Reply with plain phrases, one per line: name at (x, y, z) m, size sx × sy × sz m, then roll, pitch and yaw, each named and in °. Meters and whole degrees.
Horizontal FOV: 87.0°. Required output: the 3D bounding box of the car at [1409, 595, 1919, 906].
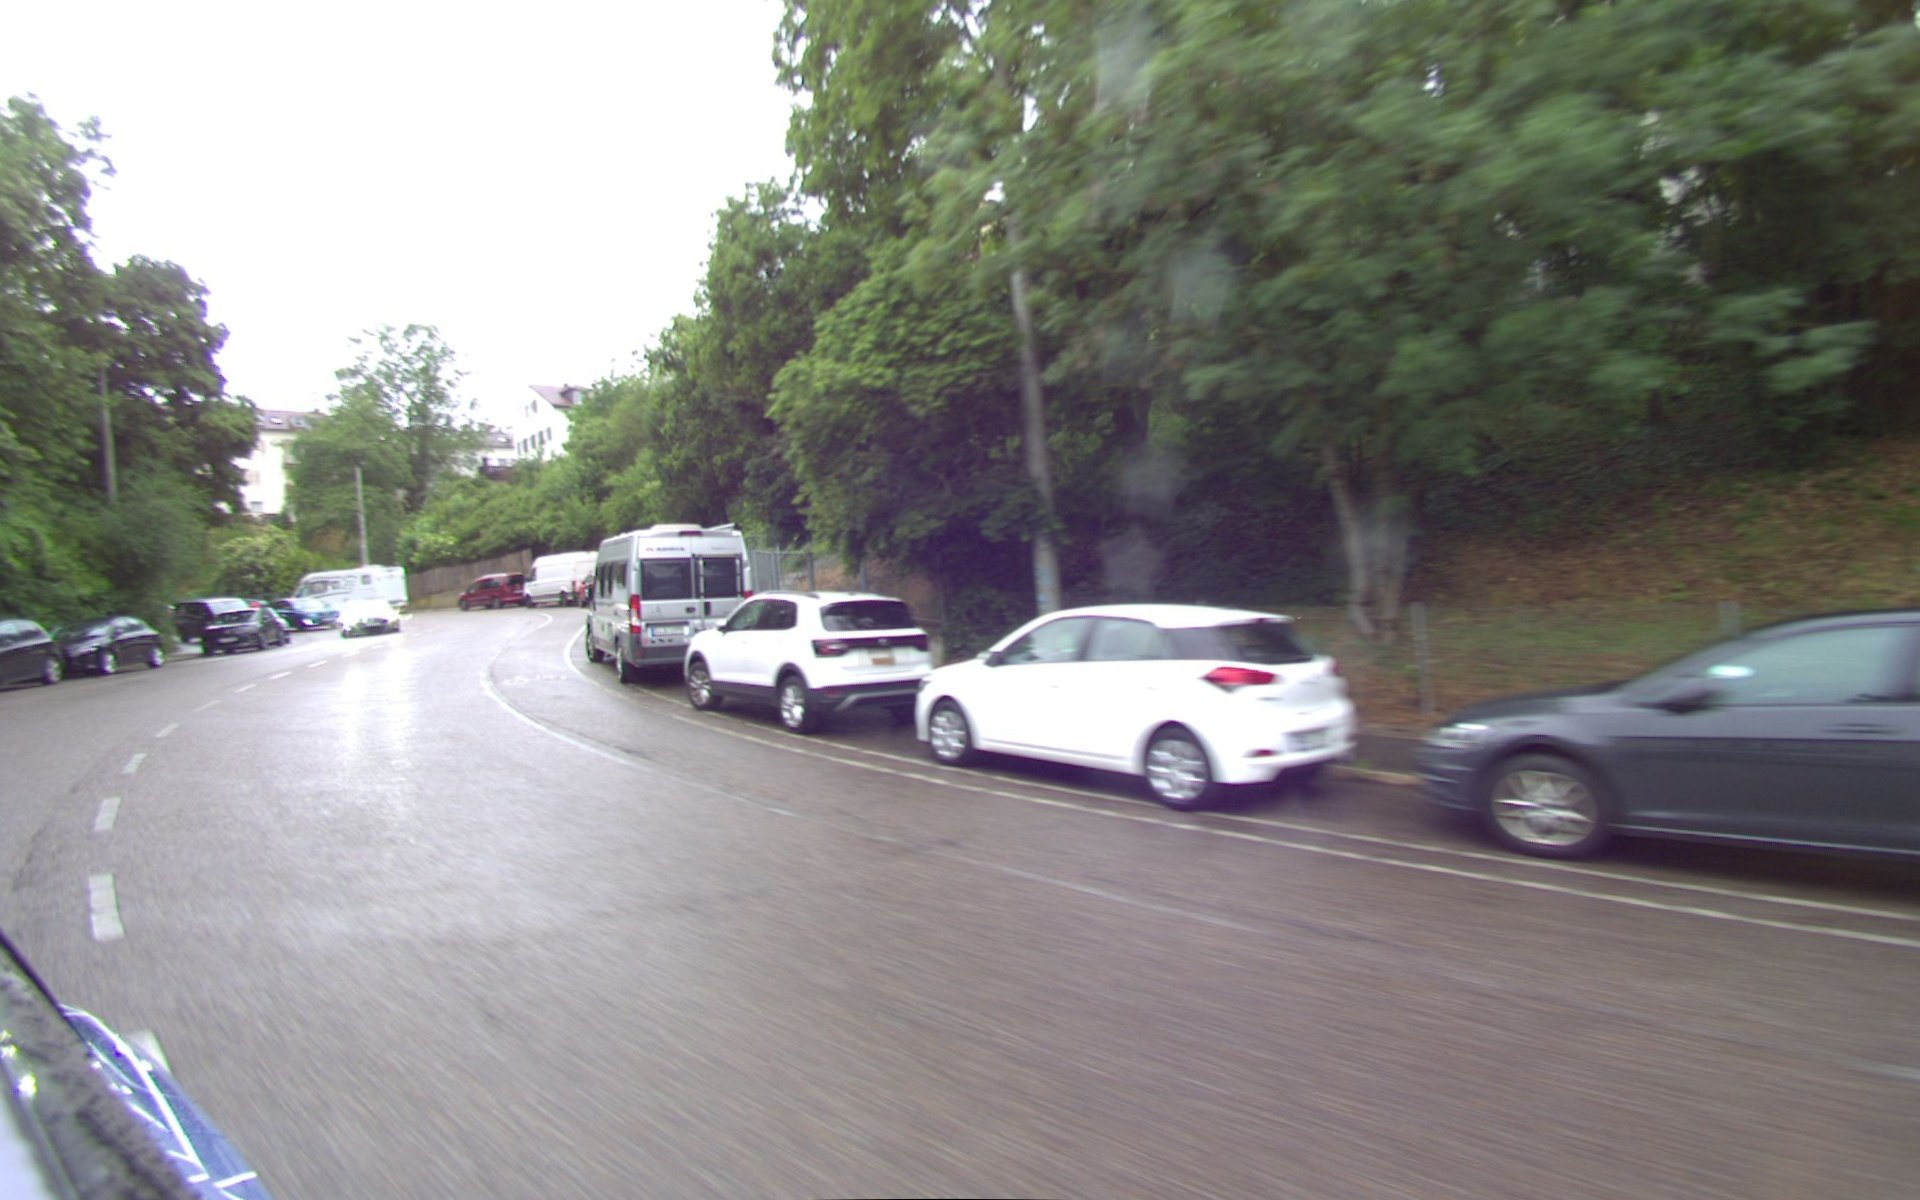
car at (4.878, 0.712, 5.628) m, size 4.014 × 1.454 × 1.755 m, roll -1°, pitch 0°, yaw 41°

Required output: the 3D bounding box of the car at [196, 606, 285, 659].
car at (-25.325, 1.095, 35.731) m, size 1.604 × 1.499 × 3.757 m, roll -7°, pitch 3°, yaw -22°

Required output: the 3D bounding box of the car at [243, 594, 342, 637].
car at (-32.438, 0.762, 49.196) m, size 4.509 × 1.681 × 1.982 m, roll -2°, pitch 6°, yaw 29°

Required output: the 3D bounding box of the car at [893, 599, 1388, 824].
car at (1.329, 0.746, 8.792) m, size 1.730 × 1.467 × 4.053 m, roll -1°, pitch 0°, yaw -41°

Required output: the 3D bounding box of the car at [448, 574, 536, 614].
car at (-26.345, -0.338, 56.921) m, size 4.802 × 1.889 × 1.981 m, roll -3°, pitch 4°, yaw 30°

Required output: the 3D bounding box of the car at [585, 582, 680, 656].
car at (-8.177, 0.384, 25.028) m, size 1.965 × 1.631 × 4.412 m, roll 0°, pitch 1°, yaw -22°

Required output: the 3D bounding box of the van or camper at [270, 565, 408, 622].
van or camper at (-37.535, -0.411, 61.197) m, size 7.452 × 2.988 × 2.449 m, roll -3°, pitch 3°, yaw 14°

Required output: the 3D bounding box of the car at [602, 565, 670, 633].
car at (-9.771, -0.099, 30.389) m, size 1.726 × 1.780 × 4.150 m, roll -4°, pitch 4°, yaw -19°

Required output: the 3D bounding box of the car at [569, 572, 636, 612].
car at (-16.331, -0.357, 46.112) m, size 1.752 × 1.597 × 4.445 m, roll -6°, pitch 3°, yaw -33°

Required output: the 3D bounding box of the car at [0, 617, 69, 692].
car at (-19.635, 1.138, 19.951) m, size 1.637 × 1.434 × 3.981 m, roll -4°, pitch 1°, yaw -19°

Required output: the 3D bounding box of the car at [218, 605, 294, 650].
car at (-28.653, 1.080, 41.115) m, size 1.879 × 1.498 × 4.882 m, roll -9°, pitch 5°, yaw -41°

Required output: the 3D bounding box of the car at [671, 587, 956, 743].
car at (-1.990, 0.662, 12.780) m, size 1.780 × 1.594 × 4.033 m, roll -1°, pitch 2°, yaw -38°

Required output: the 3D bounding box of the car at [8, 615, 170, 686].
car at (-21.753, 1.195, 25.461) m, size 1.568 × 1.399 × 3.833 m, roll -6°, pitch 2°, yaw -17°

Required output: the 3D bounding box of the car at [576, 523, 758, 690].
car at (-5.648, -0.032, 18.787) m, size 2.044 × 2.568 × 6.368 m, roll -2°, pitch 3°, yaw -27°

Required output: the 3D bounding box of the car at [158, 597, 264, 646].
car at (-33.564, 0.978, 45.329) m, size 5.019 × 1.900 × 1.980 m, roll -2°, pitch 5°, yaw 32°

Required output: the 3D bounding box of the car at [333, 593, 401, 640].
car at (-23.594, 0.636, 40.218) m, size 1.869 × 1.550 × 4.511 m, roll -7°, pitch 3°, yaw -35°

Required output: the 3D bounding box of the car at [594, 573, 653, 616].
car at (-13.765, -0.233, 41.319) m, size 1.714 × 1.489 × 4.212 m, roll -7°, pitch 3°, yaw -24°

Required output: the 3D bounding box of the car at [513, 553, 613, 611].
car at (-20.198, -0.875, 51.292) m, size 2.012 × 2.548 × 6.827 m, roll -7°, pitch 4°, yaw -44°
